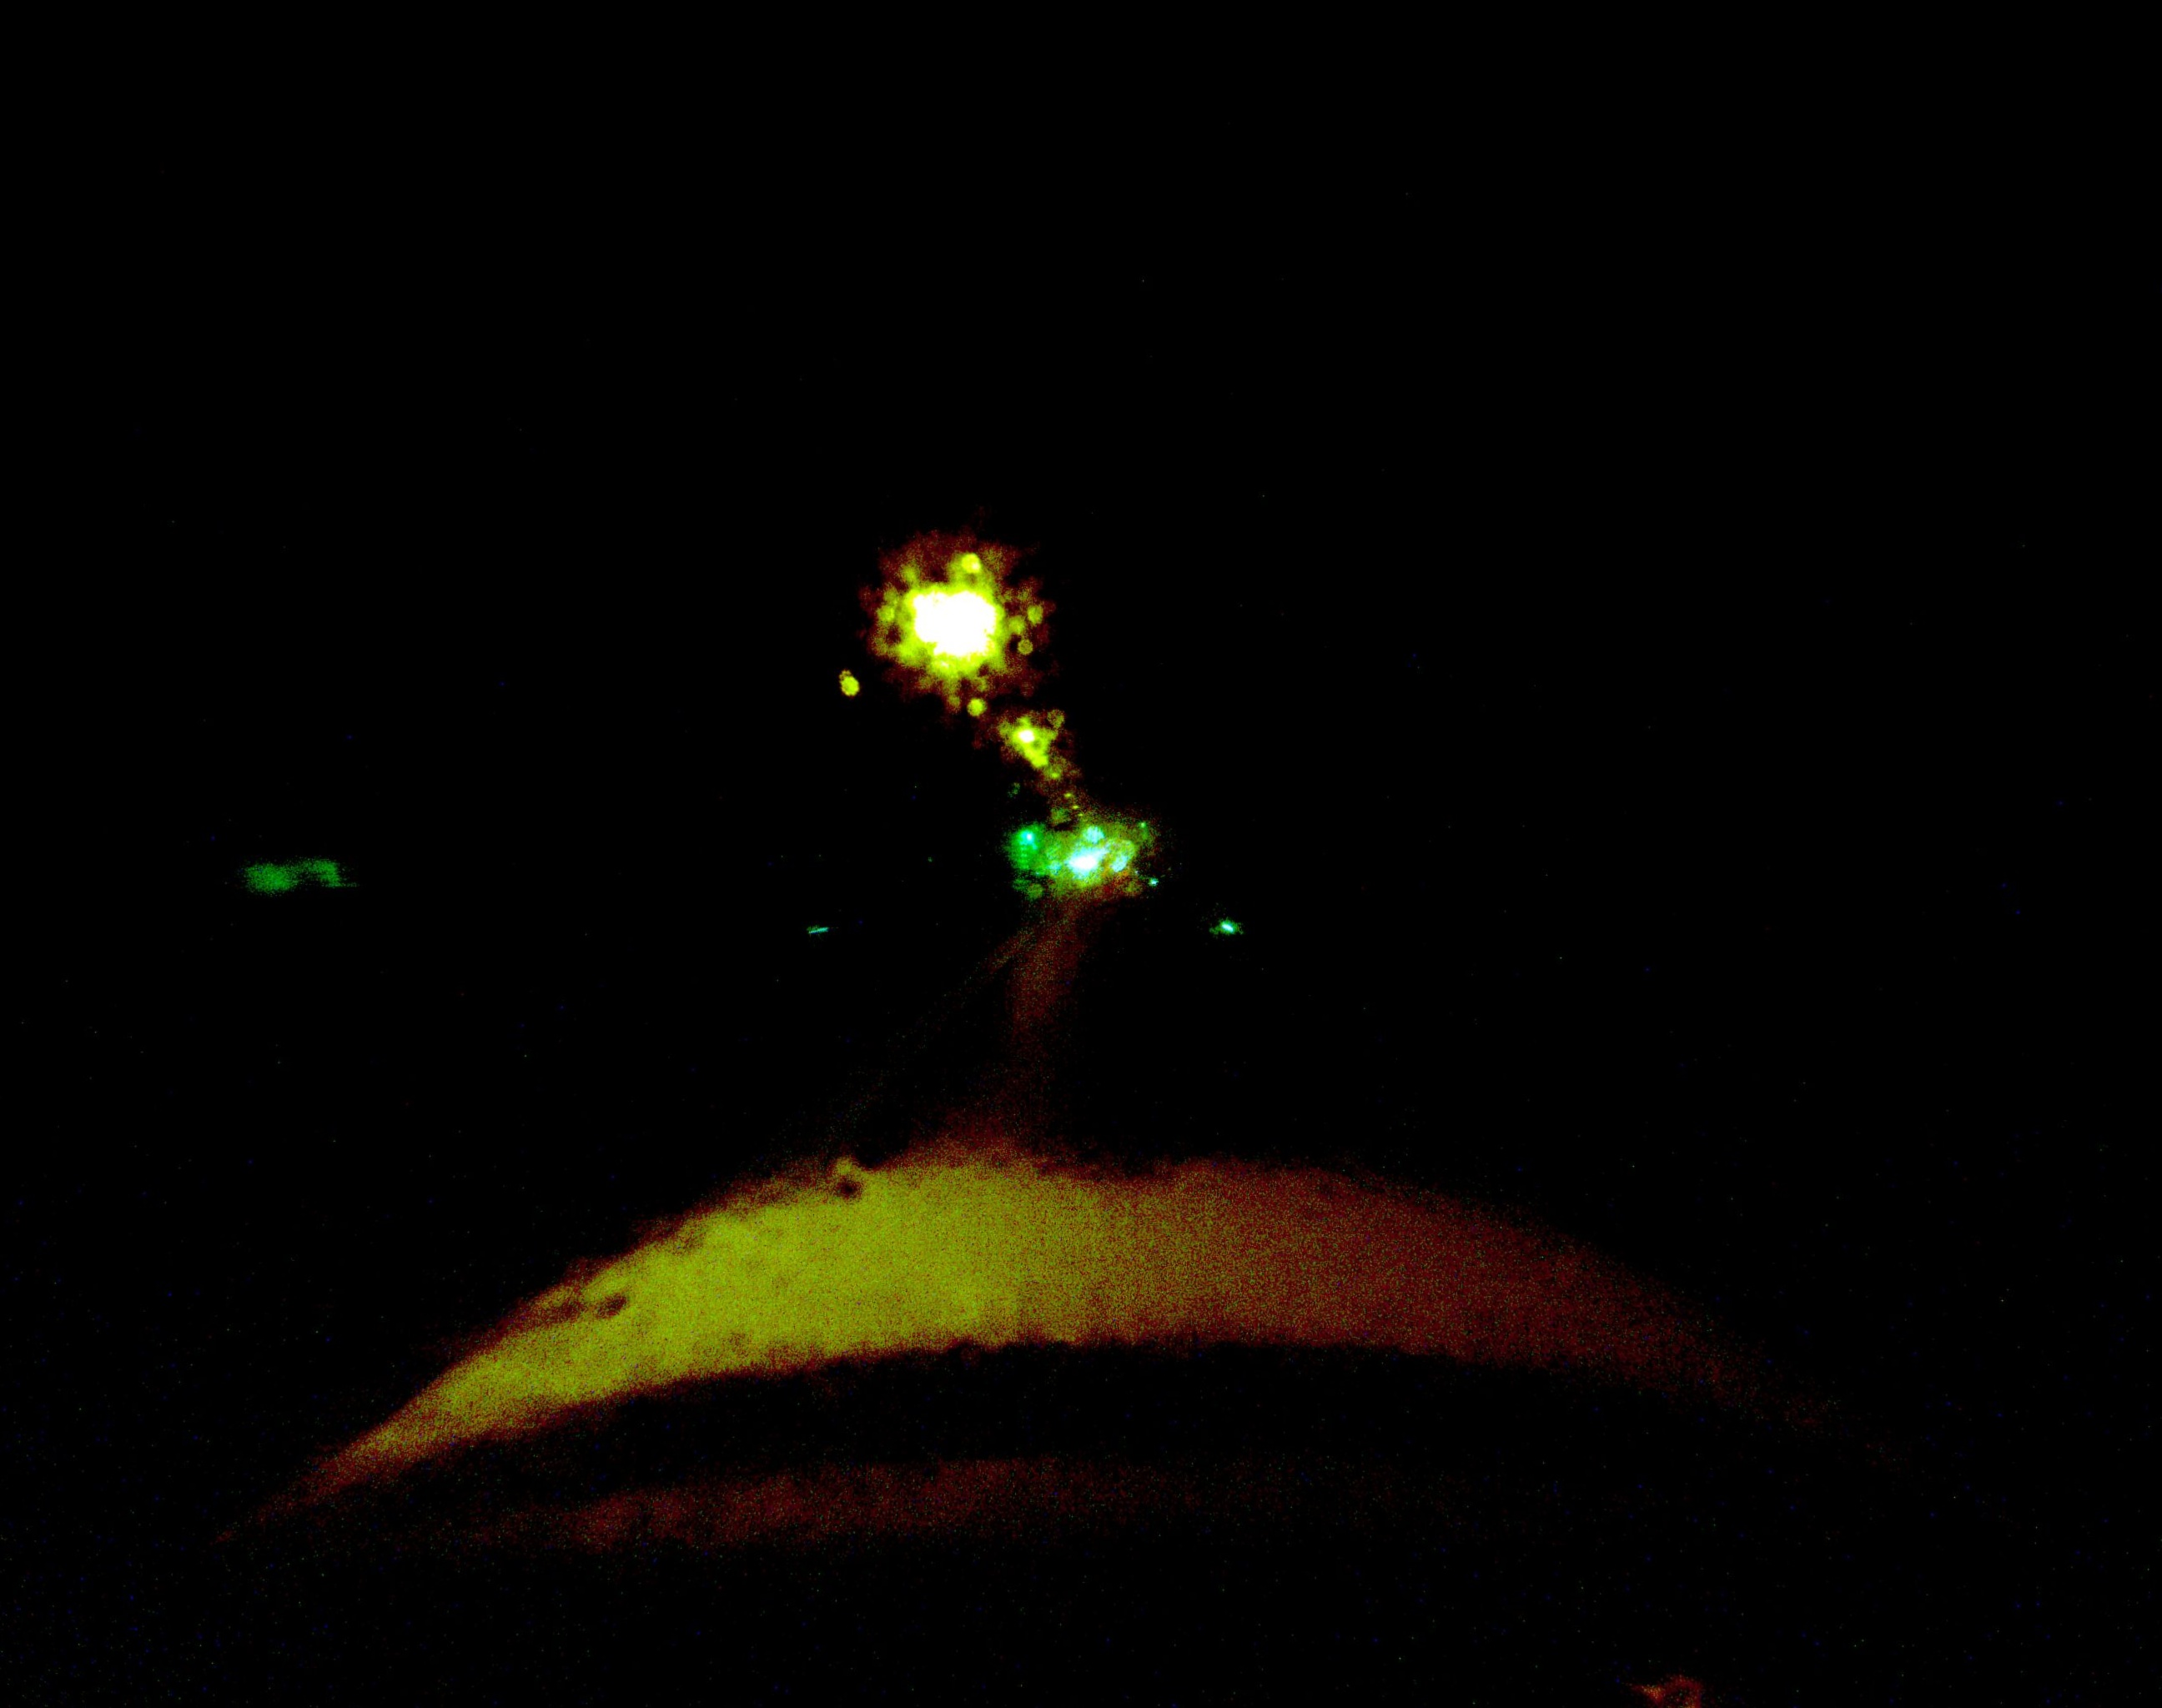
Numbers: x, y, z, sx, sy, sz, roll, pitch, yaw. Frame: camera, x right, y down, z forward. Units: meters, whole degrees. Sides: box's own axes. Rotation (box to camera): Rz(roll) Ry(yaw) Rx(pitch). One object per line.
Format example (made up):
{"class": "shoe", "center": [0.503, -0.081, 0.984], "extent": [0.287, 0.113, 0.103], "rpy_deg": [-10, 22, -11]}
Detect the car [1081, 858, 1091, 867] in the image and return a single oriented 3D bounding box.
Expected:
{"class": "car", "center": [0.836, 1.536, 140.264], "extent": [1.685, 1.505, 3.745], "rpy_deg": [-1, -1, 1]}

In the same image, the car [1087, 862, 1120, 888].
{"class": "car", "center": [1.447, 1.350, 53.497], "extent": [2.082, 1.662, 4.000], "rpy_deg": [-1, -1, 1]}
